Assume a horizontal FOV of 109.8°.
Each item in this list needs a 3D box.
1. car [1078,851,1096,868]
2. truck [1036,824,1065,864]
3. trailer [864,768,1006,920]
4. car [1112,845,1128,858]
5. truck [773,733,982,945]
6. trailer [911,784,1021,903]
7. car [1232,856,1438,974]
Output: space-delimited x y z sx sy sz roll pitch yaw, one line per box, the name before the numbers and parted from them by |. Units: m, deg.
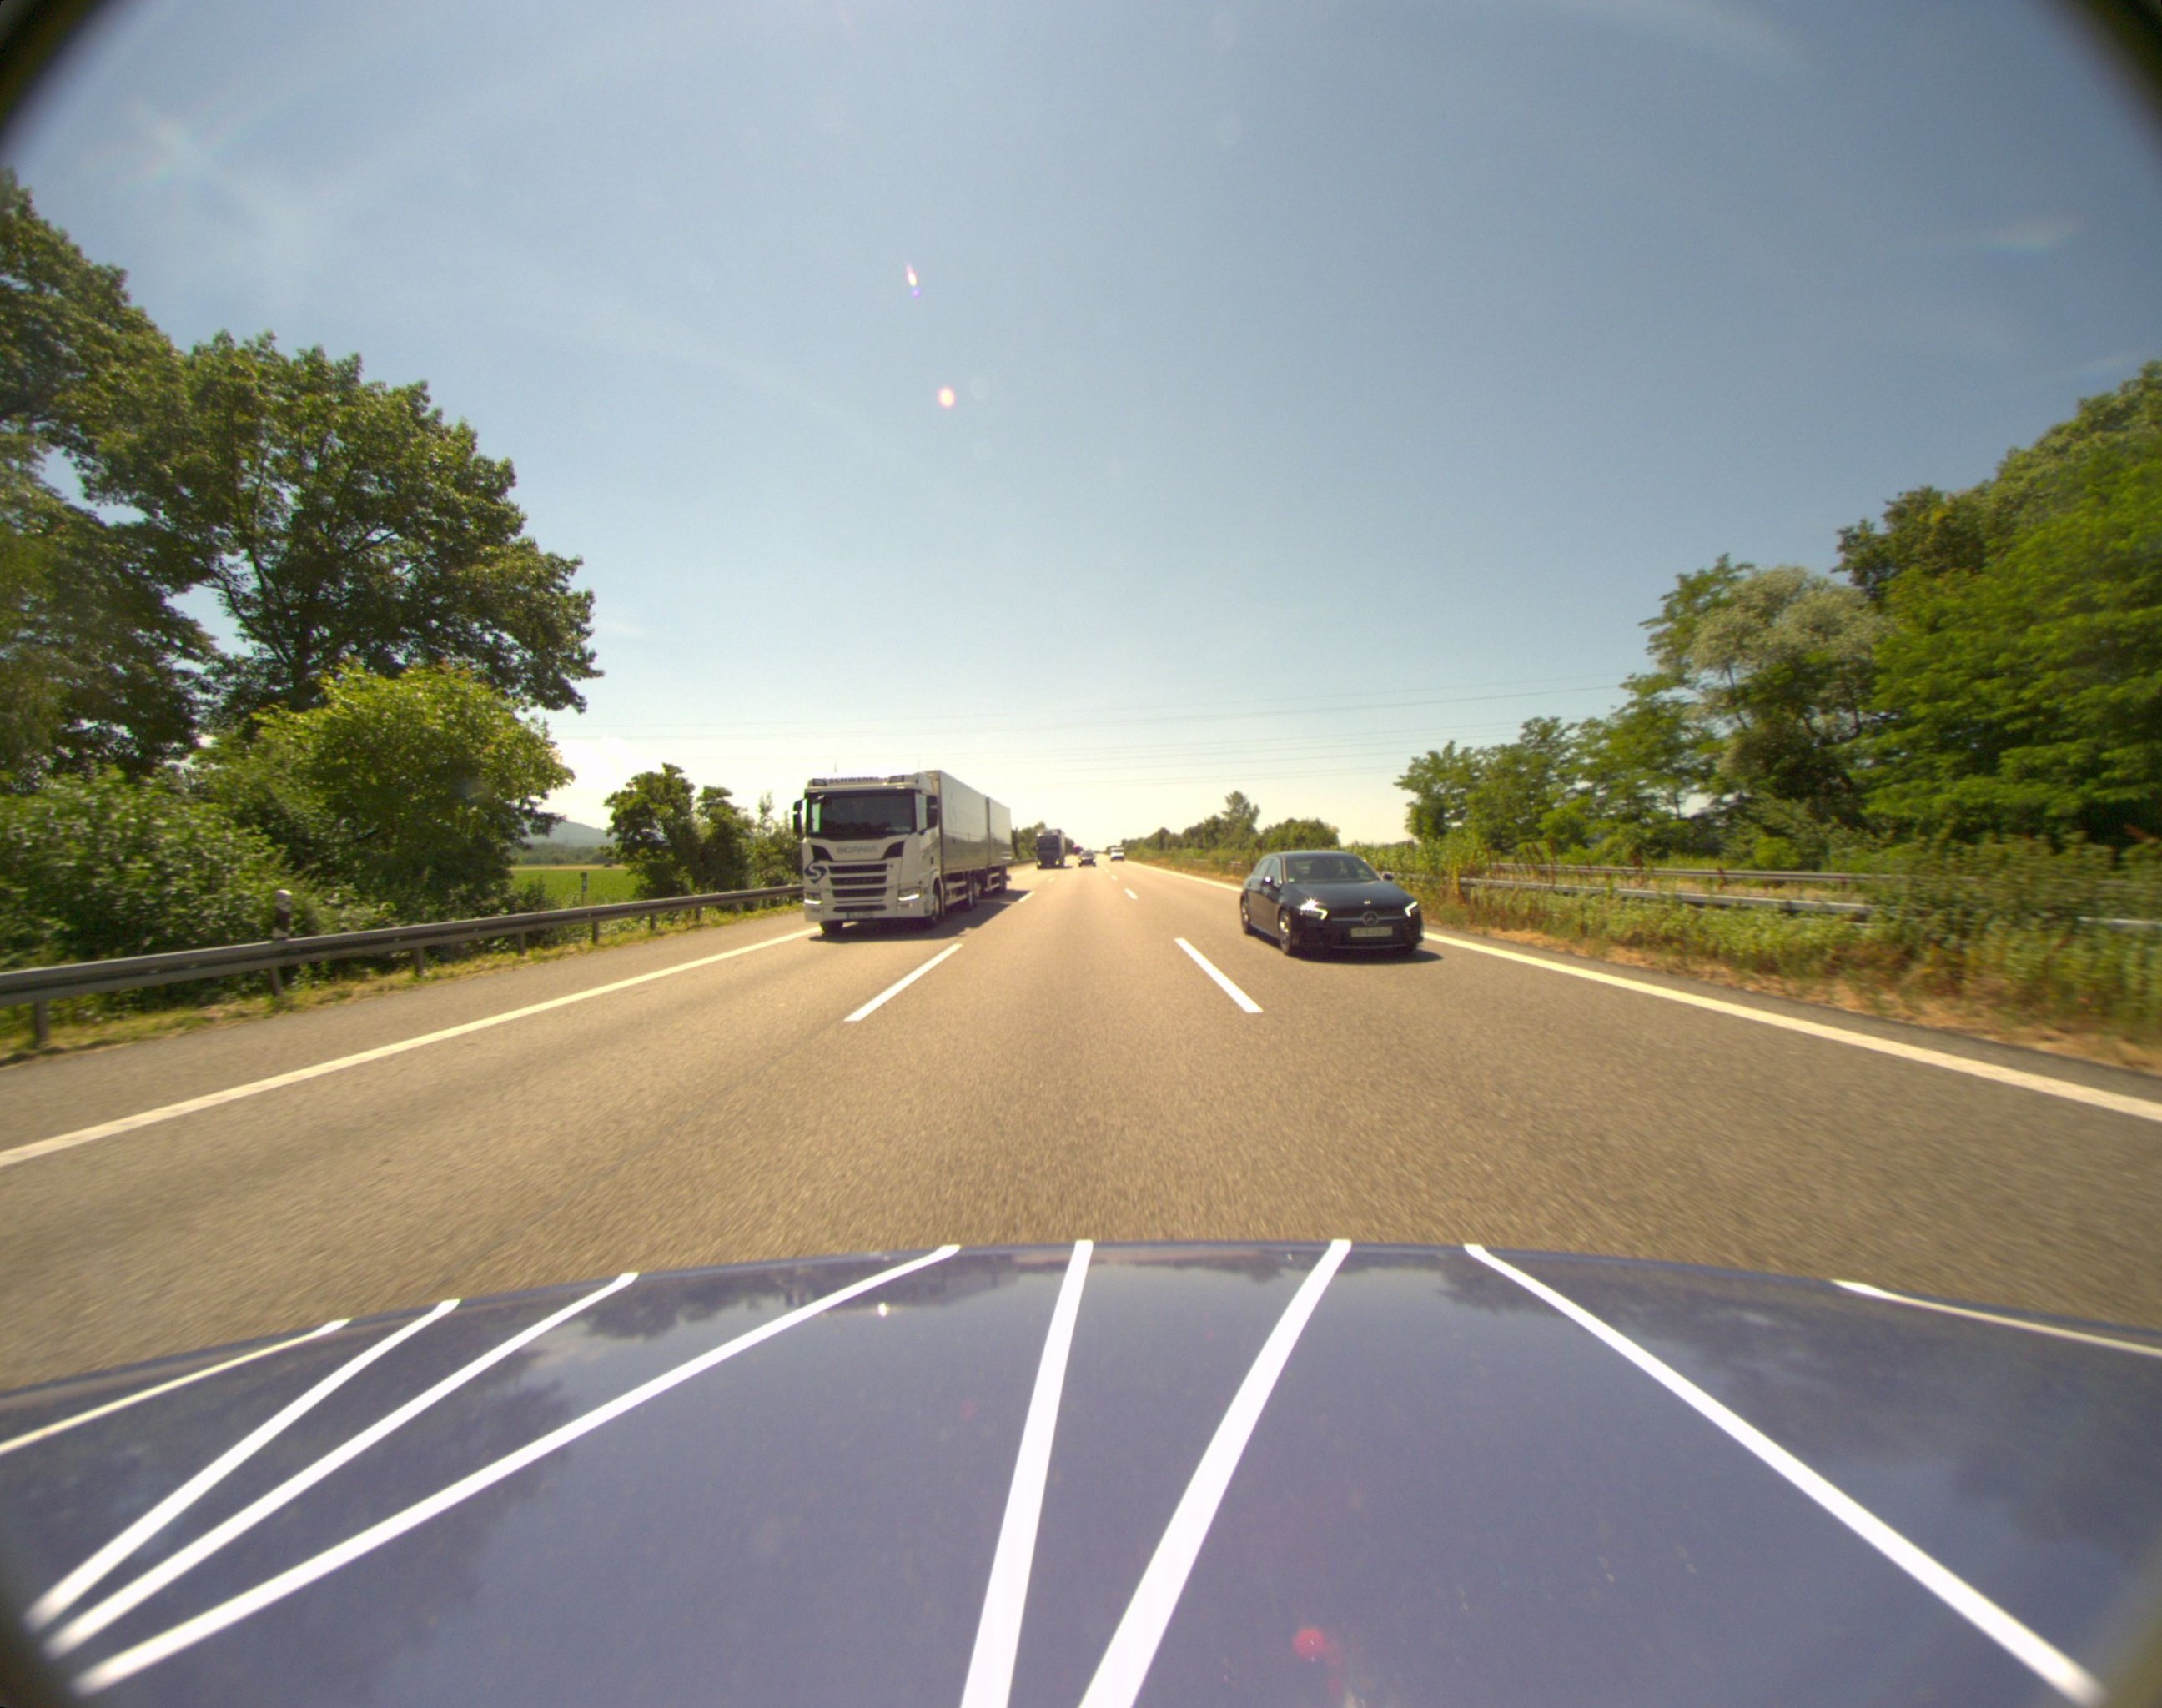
car | 0.640 0.536 80.439 1.796 1.696 4.000 0 1 1
truck | -3.089 -0.986 78.663 2.559 3.932 6.513 -2 1 1
trailer | -4.314 -0.306 24.274 2.927 4.018 7.316 -2 1 0
car | 5.813 -0.390 114.133 2.147 1.810 5.267 -2 0 1
truck | -4.398 -0.315 18.195 2.896 4.007 6.869 -2 1 1
trailer | -4.298 -0.403 30.457 2.952 4.039 8.127 -2 1 0
car | 3.607 0.783 11.610 1.796 1.403 4.052 -2 0 1
